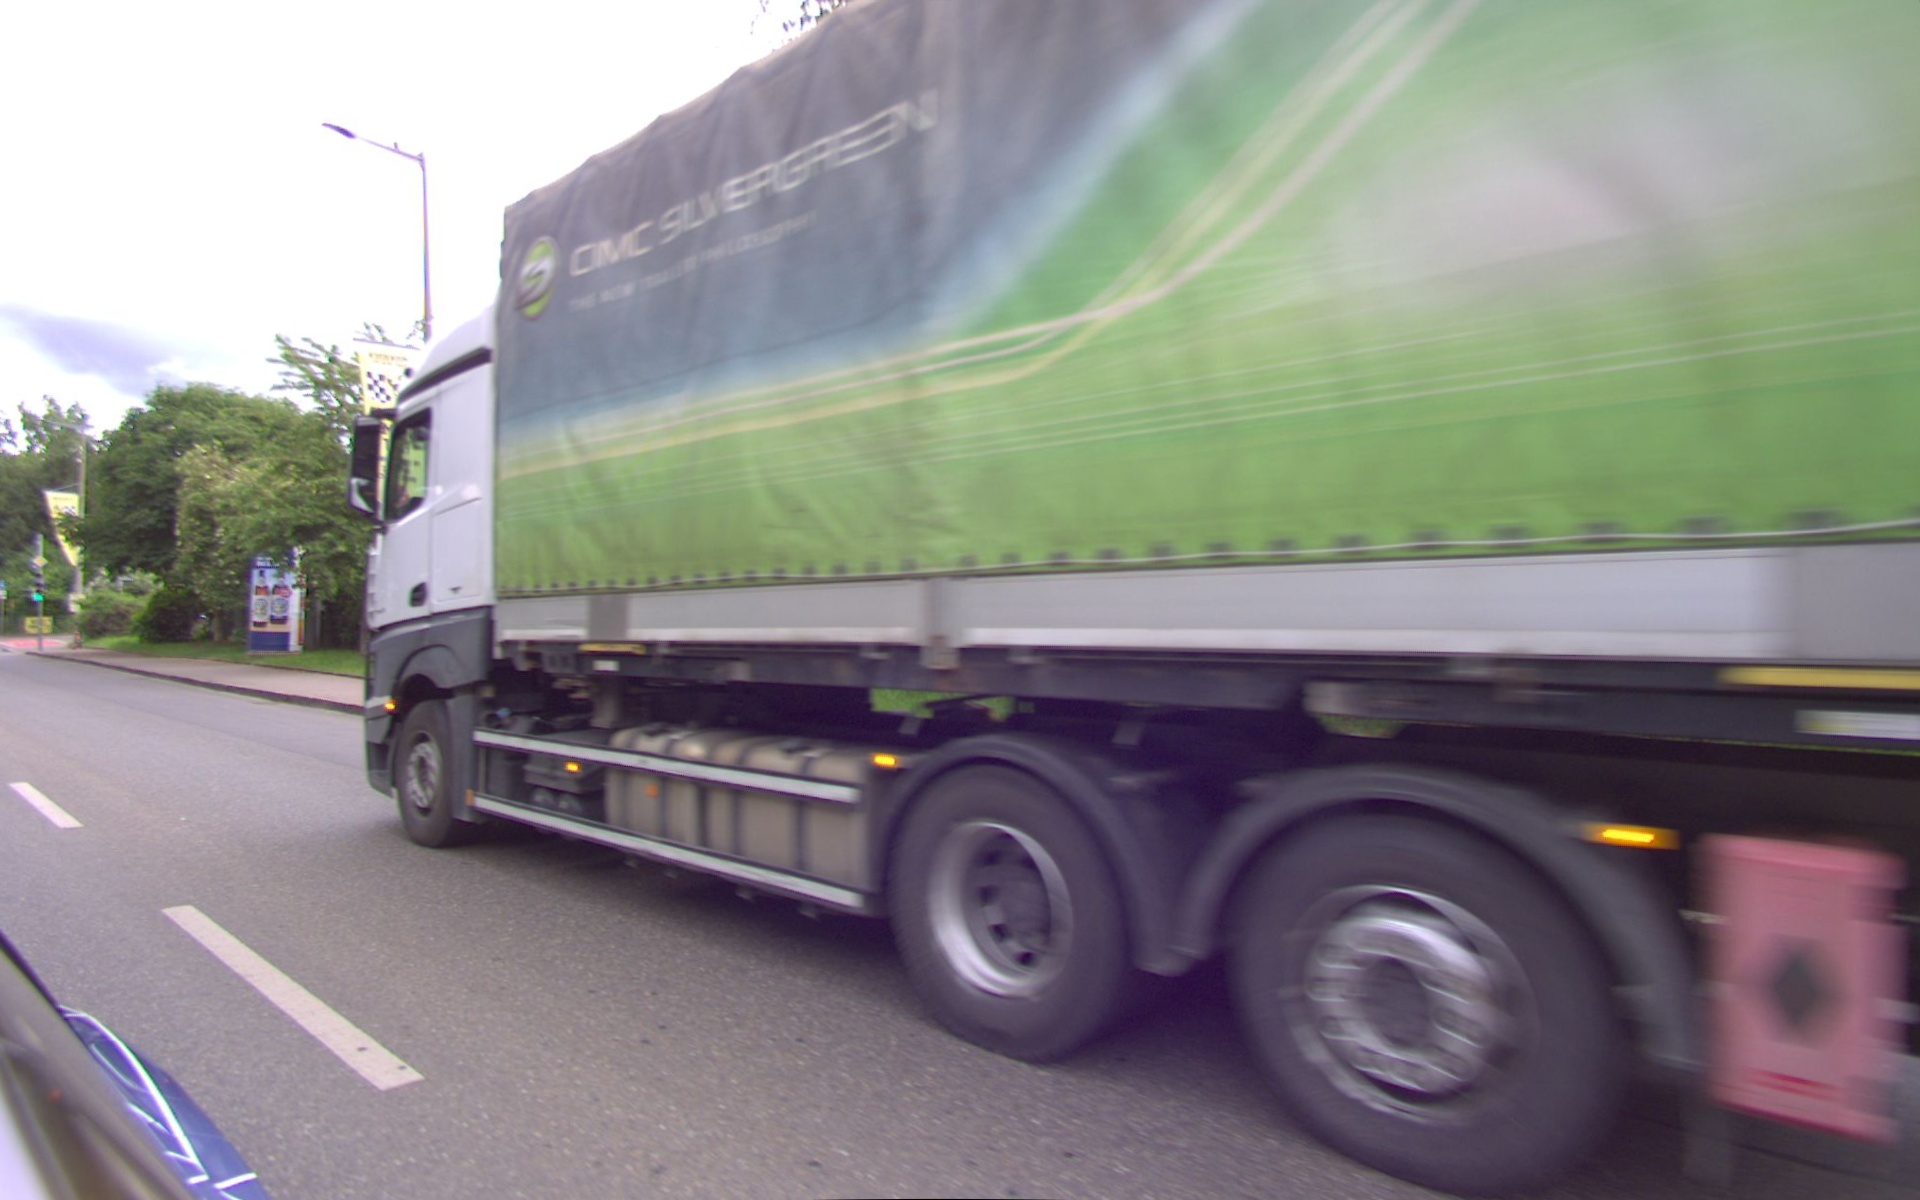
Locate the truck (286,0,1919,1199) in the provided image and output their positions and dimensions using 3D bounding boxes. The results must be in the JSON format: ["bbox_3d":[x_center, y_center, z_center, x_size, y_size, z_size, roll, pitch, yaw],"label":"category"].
[{"bbox_3d":[-0.127,-0.569,5.190,10.612,4.074,2.524,0,-3,40],"label":"truck"}]
